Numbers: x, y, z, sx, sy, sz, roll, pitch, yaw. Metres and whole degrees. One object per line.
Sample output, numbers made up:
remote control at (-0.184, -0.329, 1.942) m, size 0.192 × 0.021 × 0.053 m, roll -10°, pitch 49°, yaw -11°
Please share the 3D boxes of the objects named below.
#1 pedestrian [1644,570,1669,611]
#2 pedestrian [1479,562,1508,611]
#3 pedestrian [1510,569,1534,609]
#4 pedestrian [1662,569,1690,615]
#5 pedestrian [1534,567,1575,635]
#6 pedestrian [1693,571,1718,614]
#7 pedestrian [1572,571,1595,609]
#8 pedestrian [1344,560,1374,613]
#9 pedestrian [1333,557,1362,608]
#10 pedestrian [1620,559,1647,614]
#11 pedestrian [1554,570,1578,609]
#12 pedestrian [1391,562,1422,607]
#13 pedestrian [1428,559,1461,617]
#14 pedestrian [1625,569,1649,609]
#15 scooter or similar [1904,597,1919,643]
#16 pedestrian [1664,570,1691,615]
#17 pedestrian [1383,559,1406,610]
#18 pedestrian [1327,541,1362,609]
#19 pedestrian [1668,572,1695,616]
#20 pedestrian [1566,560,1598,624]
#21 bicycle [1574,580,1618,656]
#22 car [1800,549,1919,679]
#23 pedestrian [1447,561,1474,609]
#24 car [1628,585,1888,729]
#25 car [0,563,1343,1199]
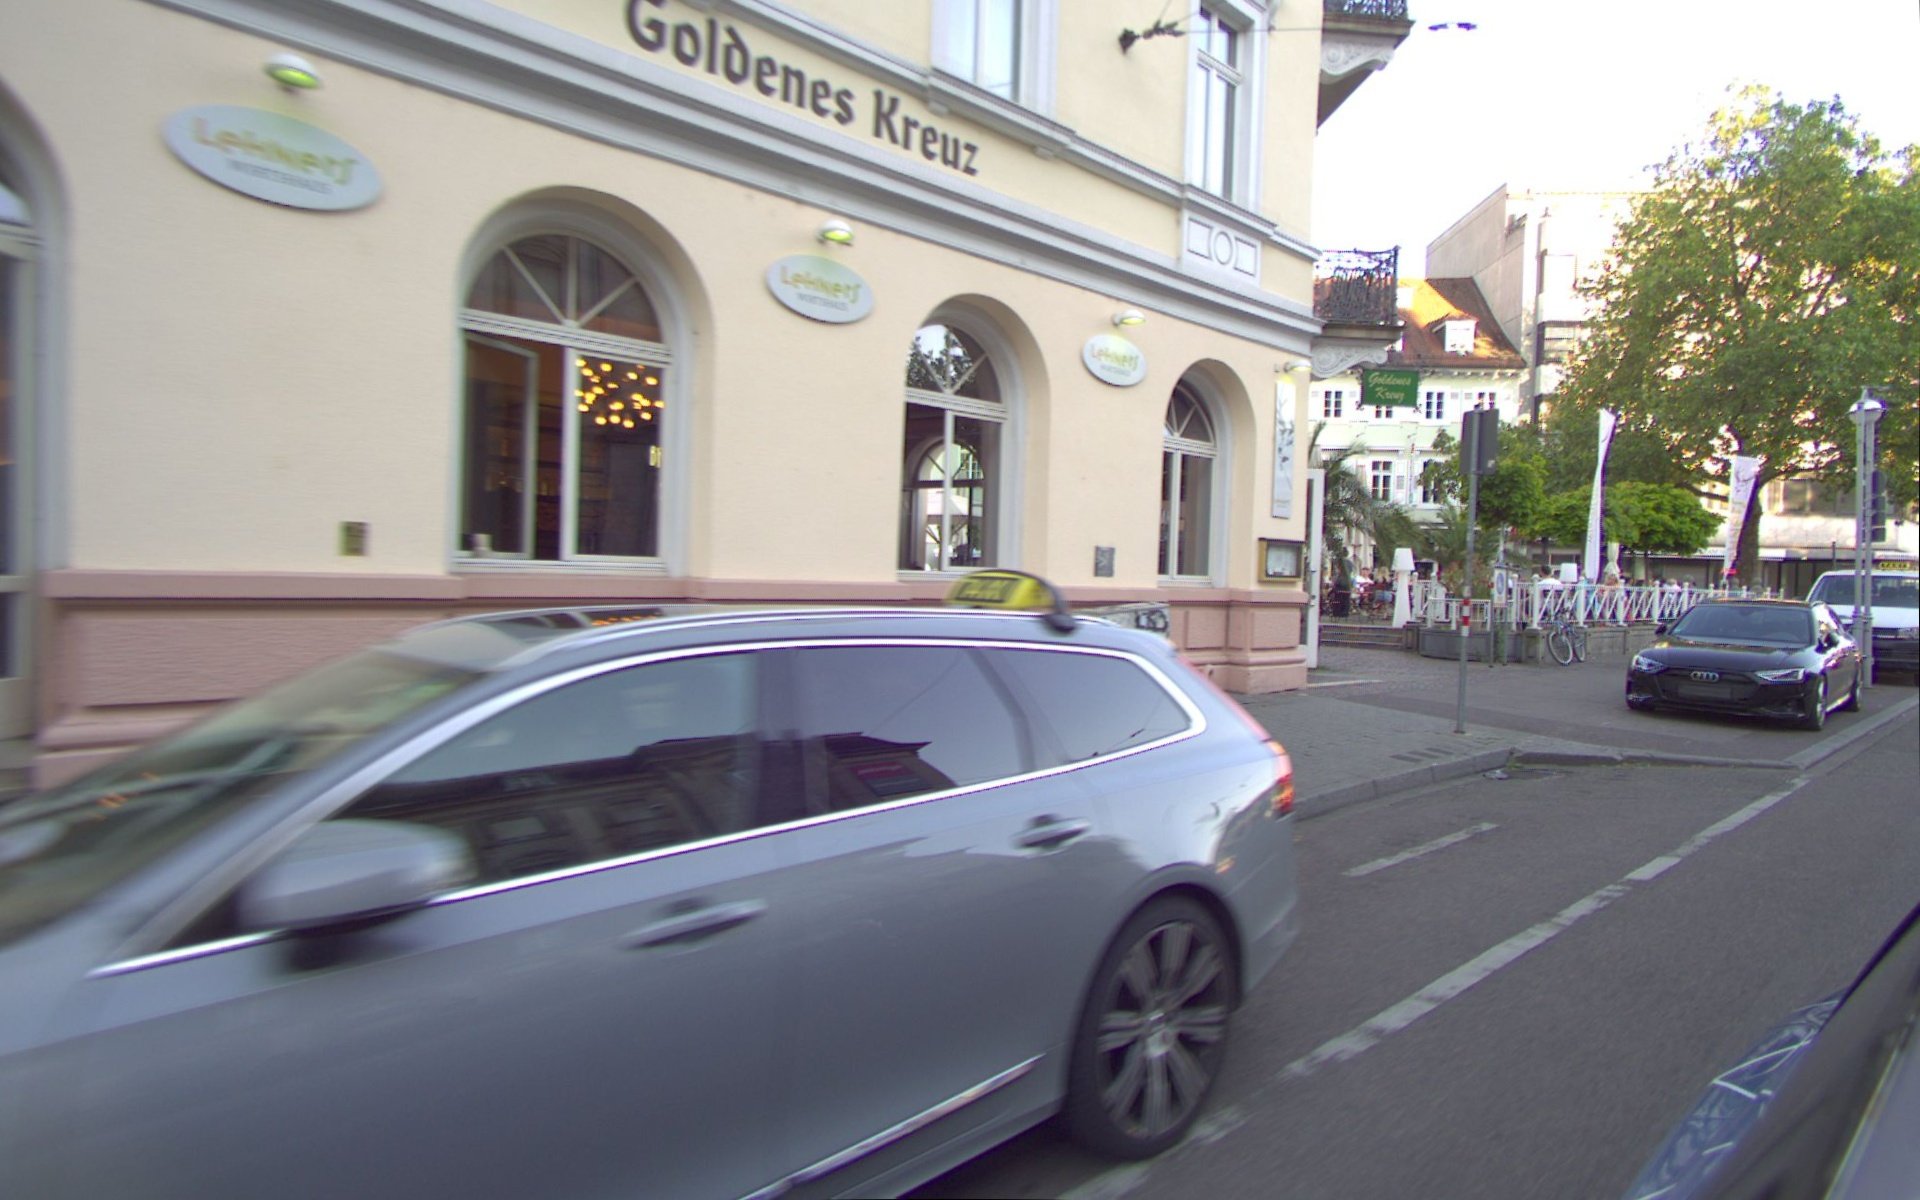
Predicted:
pedestrian at (22.554, -0.302, 32.759) m, size 0.482 × 1.313 × 0.531 m, roll 1°, pitch 1°, yaw -40°
pedestrian at (14.721, -0.376, 27.923) m, size 0.482 × 1.349 × 0.531 m, roll 1°, pitch 1°, yaw -40°
pedestrian at (18.767, -0.374, 33.815) m, size 0.482 × 1.313 × 0.531 m, roll 1°, pitch 1°, yaw -40°
pedestrian at (21.115, -0.236, 29.837) m, size 0.482 × 1.349 × 0.531 m, roll 1°, pitch 1°, yaw -40°
pedestrian at (11.598, 0.013, 19.741) m, size 0.482 × 1.312 × 0.531 m, roll 1°, pitch 1°, yaw -40°
pedestrian at (23.878, -0.236, 32.422) m, size 0.482 × 1.349 × 0.531 m, roll 1°, pitch 1°, yaw -40°
pedestrian at (21.589, -0.348, 35.066) m, size 0.482 × 1.313 × 0.531 m, roll 1°, pitch 1°, yaw -40°
pedestrian at (10.725, -0.371, 27.214) m, size 0.588 × 1.394 × 0.524 m, roll 2°, pitch 1°, yaw 43°
pedestrian at (10.258, -0.467, 26.812) m, size 0.523 × 1.349 × 0.490 m, roll 1°, pitch 1°, yaw -40°
pedestrian at (19.458, -0.397, 29.244) m, size 0.523 × 1.578 × 0.490 m, roll 1°, pitch 1°, yaw -40°
pedestrian at (20.371, -0.355, 34.035) m, size 0.482 × 1.313 × 0.531 m, roll 1°, pitch 1°, yaw -40°
pedestrian at (13.760, -0.479, 31.216) m, size 0.653 × 1.349 × 0.628 m, roll 1°, pitch 1°, yaw -40°
pedestrian at (11.451, -0.281, 23.917) m, size 0.482 × 1.349 × 0.531 m, roll 1°, pitch 1°, yaw -40°
pedestrian at (22.310, -0.361, 33.350) m, size 0.482 × 1.313 × 0.531 m, roll 1°, pitch 1°, yaw -40°
scooter or similar at (26.921, 0.581, 27.806) m, size 0.526 × 1.247 × 1.344 m, roll -1°, pitch 4°, yaw -42°
pedestrian at (21.476, -0.234, 30.282) m, size 0.482 × 1.313 × 0.531 m, roll 1°, pitch 1°, yaw -40°
pedestrian at (10.954, -0.392, 25.510) m, size 0.486 × 1.282 × 0.527 m, roll 2°, pitch 1°, yaw 26°
pedestrian at (9.758, -0.631, 25.675) m, size 0.588 × 1.713 × 0.721 m, roll 2°, pitch 1°, yaw 42°
pedestrian at (21.922, -0.174, 30.757) m, size 0.482 × 1.313 × 0.531 m, roll 1°, pitch 1°, yaw -40°
pedestrian at (13.077, -0.179, 21.271) m, size 0.529 × 1.312 × 0.485 m, roll 2°, pitch 1°, yaw 34°
bicycle at (12.079, 0.328, 19.207) m, size 1.268 × 1.408 × 0.344 m, roll 0°, pitch 1°, yaw -42°
car at (17.073, 0.181, 18.435) m, size 5.124 × 2.092 × 1.856 m, roll 0°, pitch 3°, yaw -41°
pedestrian at (14.226, -0.438, 28.778) m, size 0.523 × 1.349 × 0.490 m, roll 1°, pitch 1°, yaw -40°
car at (10.032, 0.559, 12.590) m, size 4.469 × 1.407 × 1.700 m, roll -1°, pitch 4°, yaw -41°
car at (-1.068, 0.680, 2.458) m, size 4.612 × 1.494 × 1.809 m, roll -1°, pitch 1°, yaw -41°
